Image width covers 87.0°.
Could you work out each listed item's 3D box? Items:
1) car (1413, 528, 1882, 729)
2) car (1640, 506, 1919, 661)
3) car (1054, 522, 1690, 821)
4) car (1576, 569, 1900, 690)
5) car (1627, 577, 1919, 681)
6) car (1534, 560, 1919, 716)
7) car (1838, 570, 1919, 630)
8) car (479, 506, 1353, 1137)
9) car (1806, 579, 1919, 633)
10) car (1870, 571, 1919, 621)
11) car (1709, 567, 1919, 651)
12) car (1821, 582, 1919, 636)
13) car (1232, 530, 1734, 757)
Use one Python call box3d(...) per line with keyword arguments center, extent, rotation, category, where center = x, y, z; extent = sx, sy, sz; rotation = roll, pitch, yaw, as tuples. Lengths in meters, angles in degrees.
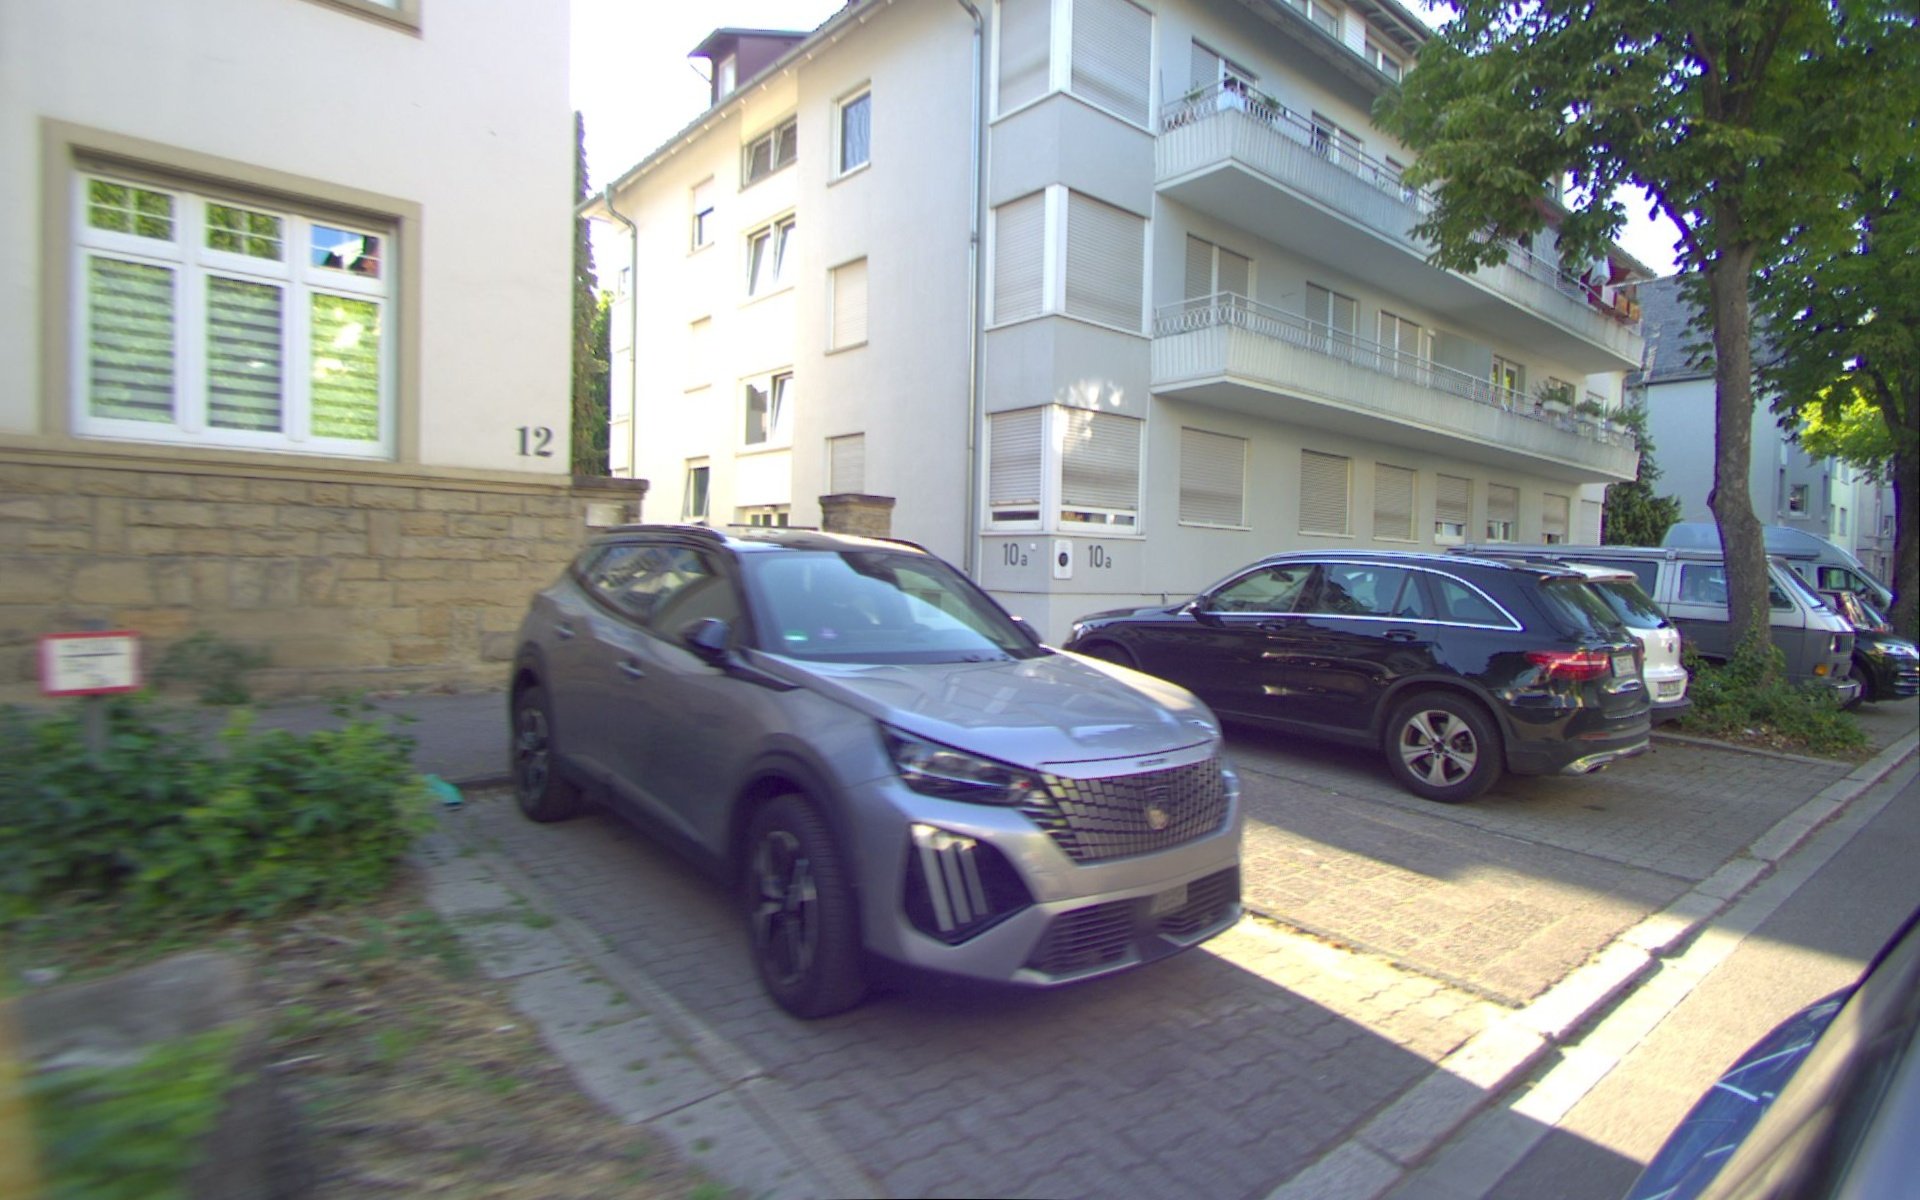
box3d(center=(8.282, 0.197, 12.548), extent=(1.864, 2.038, 4.476), rotation=(0, 2, -42), category="car")
box3d(center=(17.647, -0.426, 21.296), extent=(2.041, 2.937, 5.103), rotation=(0, 3, -43), category="car")
box3d(center=(2.963, 0.303, 8.076), extent=(1.677, 1.703, 4.338), rotation=(0, 3, -43), category="car")
box3d(center=(12.050, 0.354, 15.873), extent=(1.610, 1.573, 3.730), rotation=(-1, 3, -39), category="car")
box3d(center=(13.947, 0.399, 17.460), extent=(1.729, 1.448, 3.727), rotation=(-2, 4, -42), category="car")
box3d(center=(10.357, 0.377, 13.711), extent=(4.174, 1.744, 1.739), rotation=(3, 3, 42), category="car")
box3d(center=(32.074, 0.014, 33.519), extent=(1.730, 1.907, 4.307), rotation=(-1, 4, -43), category="car")
box3d(center=(-0.644, 0.400, 4.663), extent=(1.818, 1.558, 4.166), rotation=(0, 4, -40), category="car")
box3d(center=(29.798, 0.216, 32.111), extent=(1.729, 1.559, 4.307), rotation=(0, 3, -43), category="car")
box3d(center=(39.575, -0.084, 40.216), extent=(1.915, 1.960, 4.819), rotation=(0, 3, -40), category="car")
box3d(center=(19.840, 0.163, 23.012), extent=(1.728, 1.587, 4.197), rotation=(0, 4, -42), category="car")
box3d(center=(28.010, 0.288, 30.069), extent=(1.728, 1.444, 3.411), rotation=(0, 4, -40), category="car")
box3d(center=(4.841, 0.234, 9.885), extent=(1.674, 1.703, 3.962), rotation=(1, 3, -37), category="car")
